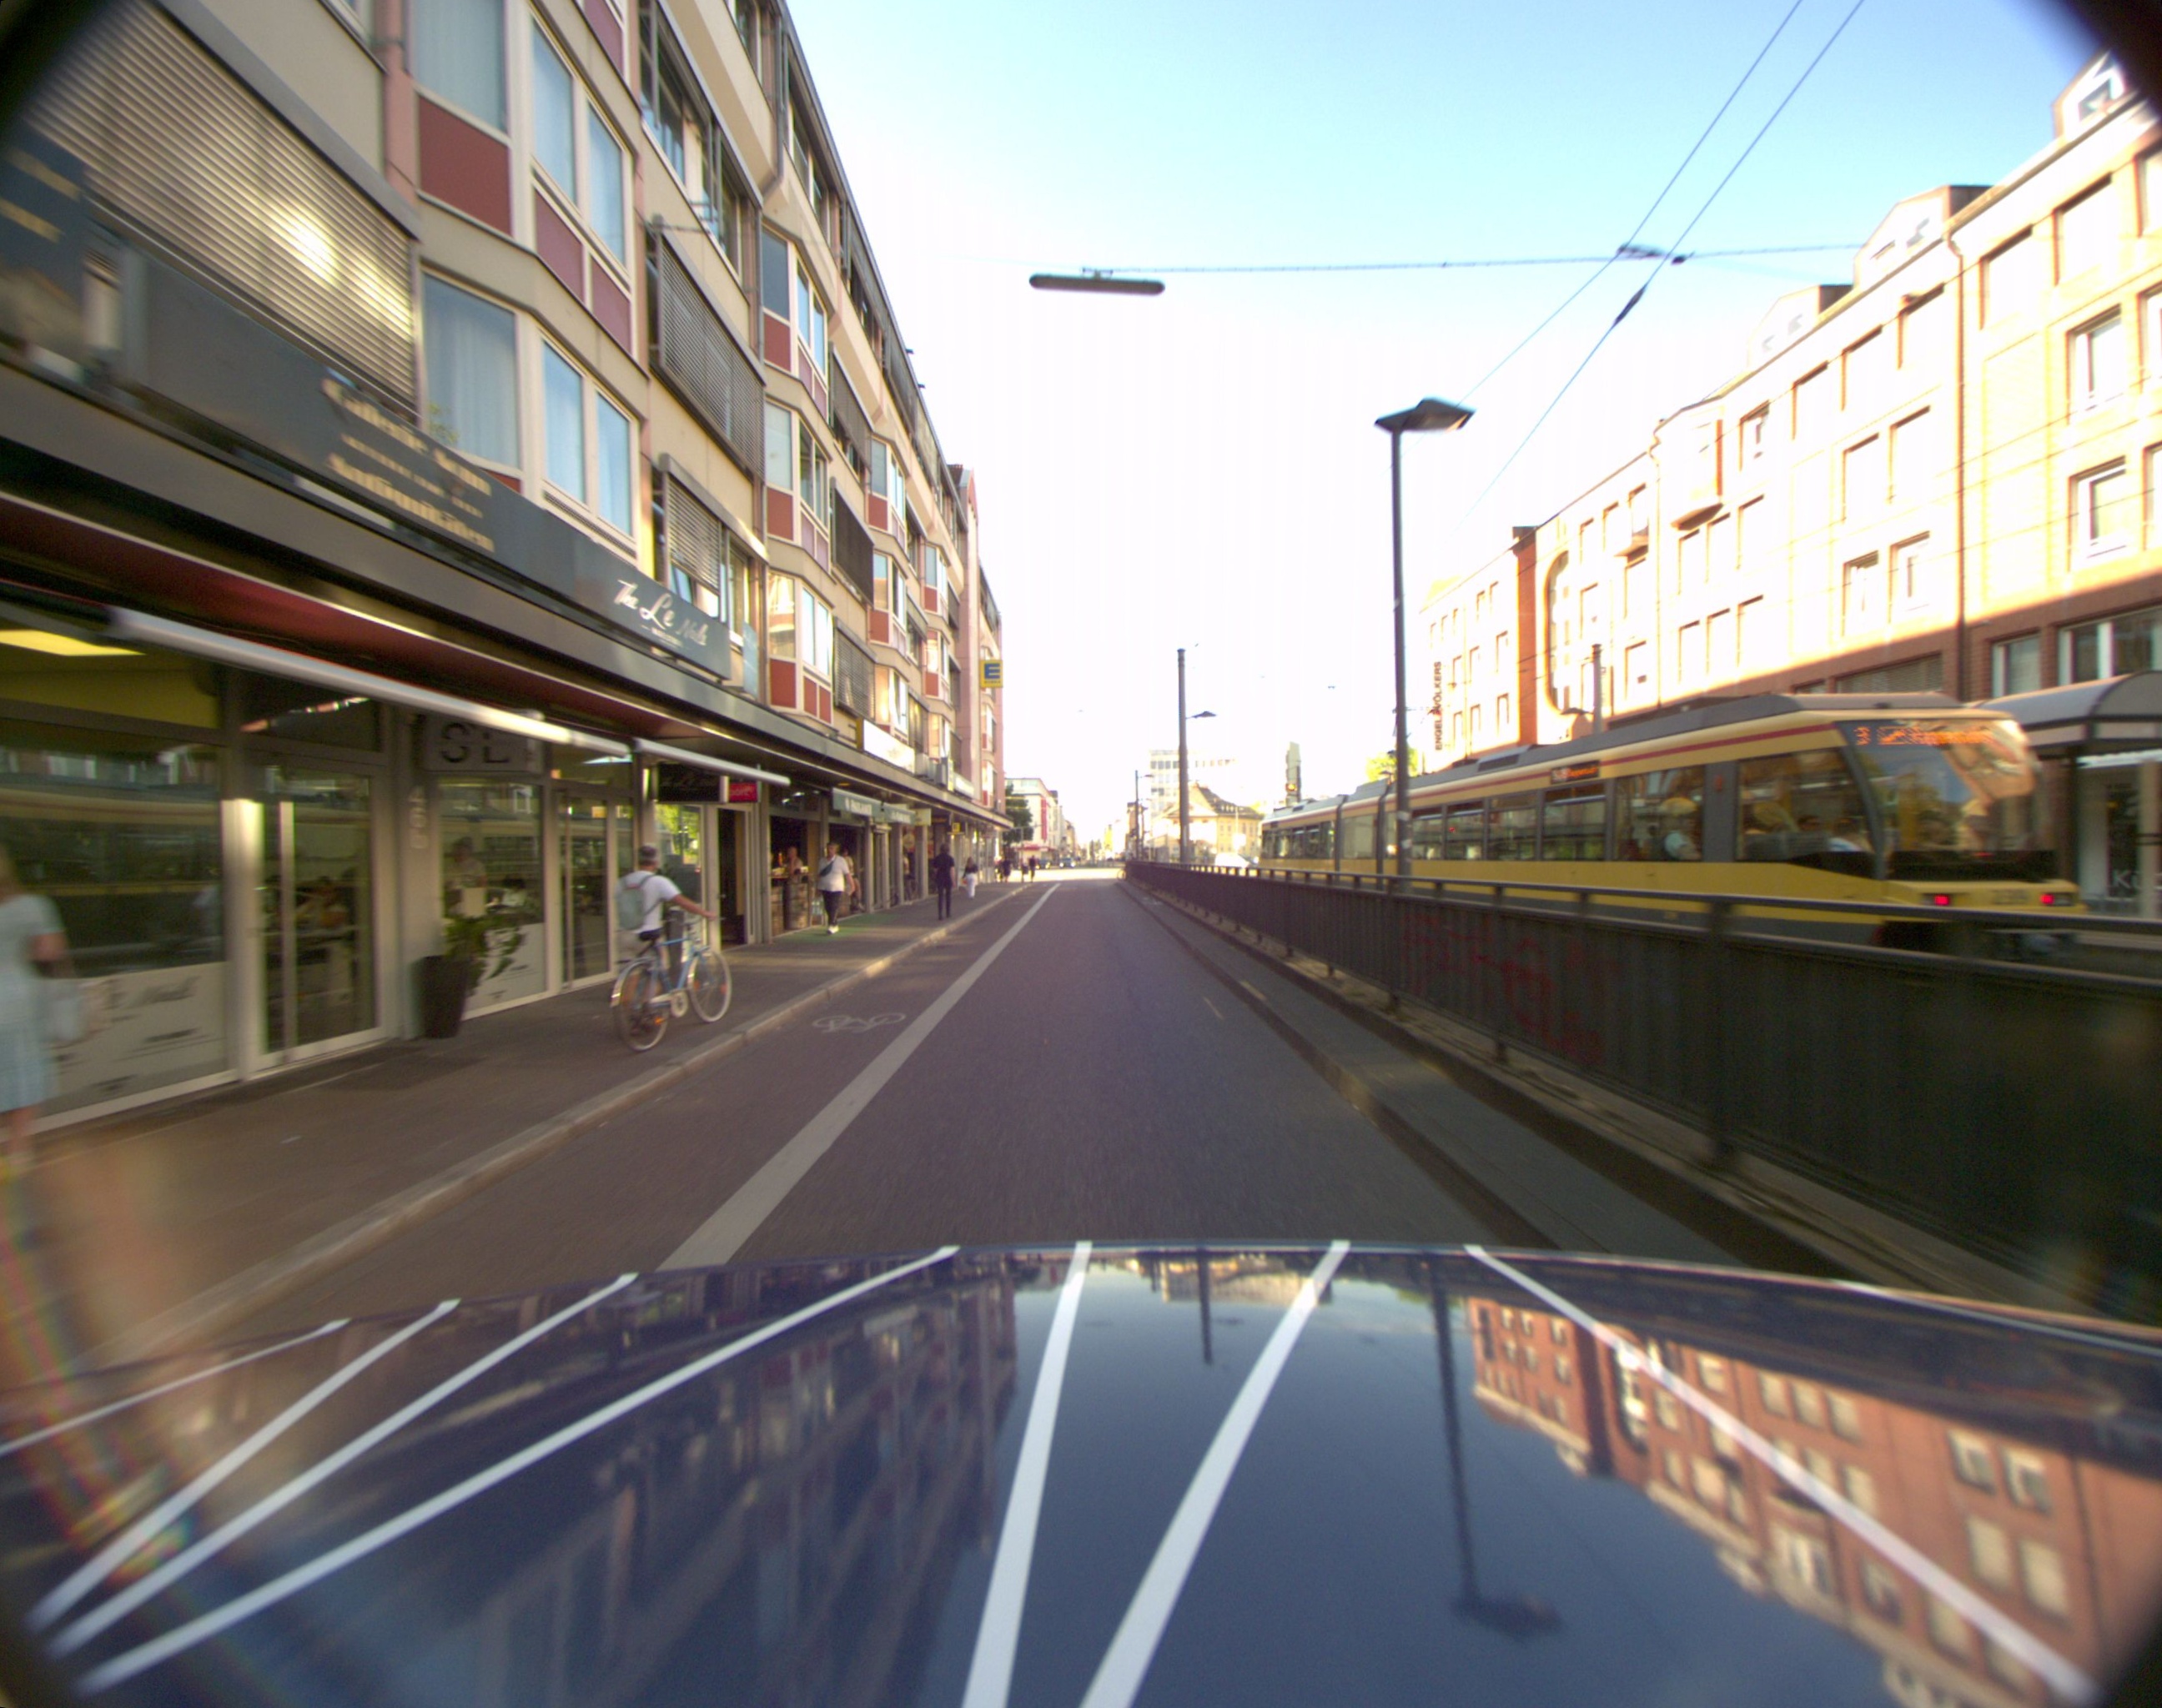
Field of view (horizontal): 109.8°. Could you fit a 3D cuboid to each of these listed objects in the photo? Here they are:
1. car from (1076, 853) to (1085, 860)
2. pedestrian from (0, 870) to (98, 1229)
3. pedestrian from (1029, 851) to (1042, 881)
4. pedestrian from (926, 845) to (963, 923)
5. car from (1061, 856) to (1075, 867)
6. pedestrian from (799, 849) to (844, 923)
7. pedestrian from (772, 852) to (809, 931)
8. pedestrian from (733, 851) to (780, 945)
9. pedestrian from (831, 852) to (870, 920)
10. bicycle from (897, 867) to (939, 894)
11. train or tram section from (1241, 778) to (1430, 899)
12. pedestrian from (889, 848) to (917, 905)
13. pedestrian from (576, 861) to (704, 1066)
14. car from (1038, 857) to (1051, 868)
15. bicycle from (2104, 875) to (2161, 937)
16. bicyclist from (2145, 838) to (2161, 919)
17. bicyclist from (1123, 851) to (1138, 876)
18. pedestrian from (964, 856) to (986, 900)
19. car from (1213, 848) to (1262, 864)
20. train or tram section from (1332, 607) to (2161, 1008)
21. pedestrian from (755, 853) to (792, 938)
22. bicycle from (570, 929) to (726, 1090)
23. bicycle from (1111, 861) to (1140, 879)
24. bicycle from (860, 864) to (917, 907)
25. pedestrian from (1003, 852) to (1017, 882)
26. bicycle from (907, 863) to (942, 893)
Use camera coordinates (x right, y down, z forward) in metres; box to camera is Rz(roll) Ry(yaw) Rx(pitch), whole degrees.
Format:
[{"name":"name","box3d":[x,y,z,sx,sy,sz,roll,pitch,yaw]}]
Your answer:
[{"name":"car","box3d":[-0.112,0.537,154.697,1.730,1.337,3.484,-2,0,-2]},{"name":"pedestrian","box3d":[-5.092,0.872,3.411,0.602,1.581,0.553,0,1,0]},{"name":"pedestrian","box3d":[-2.905,0.741,48.155,0.680,1.832,0.606,-3,1,-12]},{"name":"pedestrian","box3d":[-3.322,0.717,18.586,0.676,1.850,0.992,1,1,2]},{"name":"car","box3d":[-1.885,1.063,108.554,1.772,1.458,3.812,-2,0,-2]},{"name":"pedestrian","box3d":[-6.012,0.720,17.626,0.774,1.665,0.696,-1,1,1]},{"name":"pedestrian","box3d":[-6.064,0.766,15.886,0.517,1.623,0.522,-1,1,5]},{"name":"pedestrian","box3d":[-5.909,0.790,13.862,0.580,1.673,0.553,-1,1,-1]},{"name":"pedestrian","box3d":[-5.636,0.759,18.608,0.728,1.626,0.639,1,1,2]},{"name":"bicycle","box3d":[-6.310,1.027,29.524,1.513,1.035,0.434,-1,-1,-2]},{"name":"train or tram section","box3d":[9.390,-0.508,30.637,2.981,3.623,13.943,-3,0,1]},{"name":"pedestrian","box3d":[-5.454,0.677,23.261,0.789,1.711,0.591,1,-1,-17]},{"name":"pedestrian","box3d":[-3.705,0.880,6.433,0.664,1.621,0.705,1,1,0]},{"name":"car","box3d":[-5.076,1.223,106.310,1.772,1.458,3.812,-2,0,-2]},{"name":"bicycle","box3d":[19.908,0.962,13.694,0.506,1.108,1.814,-1,0,0]},{"name":"bicyclist","box3d":[19.898,0.442,13.612,0.506,1.458,0.841,-1,1,0]},{"name":"bicyclist","box3d":[2.846,0.536,43.749,0.750,1.372,0.901,-1,1,-5]},{"name":"pedestrian","box3d":[-3.800,0.849,27.321,0.667,1.512,0.789,1,1,-2]},{"name":"car","box3d":[14.474,0.201,70.500,3.988,1.496,2.004,-1,1,43]},{"name":"train or tram section","box3d":[9.262,-0.397,15.325,2.981,3.623,16.486,-3,0,1]},{"name":"pedestrian","box3d":[-5.903,0.783,14.604,0.457,1.594,0.529,-1,1,0]},{"name":"bicycle","box3d":[-3.531,1.207,6.356,0.303,0.984,1.760,0,0,0]},{"name":"bicycle","box3d":[2.564,0.926,43.633,1.592,1.027,0.418,-1,1,-5]},{"name":"bicycle","box3d":[-5.905,0.945,23.450,0.470,1.244,2.087,-1,1,24]},{"name":"pedestrian","box3d":[-3.925,0.716,42.014,0.709,1.604,0.495,0,2,0]},{"name":"bicycle","box3d":[-6.282,0.947,30.437,1.477,1.193,0.483,-1,1,37]}]
